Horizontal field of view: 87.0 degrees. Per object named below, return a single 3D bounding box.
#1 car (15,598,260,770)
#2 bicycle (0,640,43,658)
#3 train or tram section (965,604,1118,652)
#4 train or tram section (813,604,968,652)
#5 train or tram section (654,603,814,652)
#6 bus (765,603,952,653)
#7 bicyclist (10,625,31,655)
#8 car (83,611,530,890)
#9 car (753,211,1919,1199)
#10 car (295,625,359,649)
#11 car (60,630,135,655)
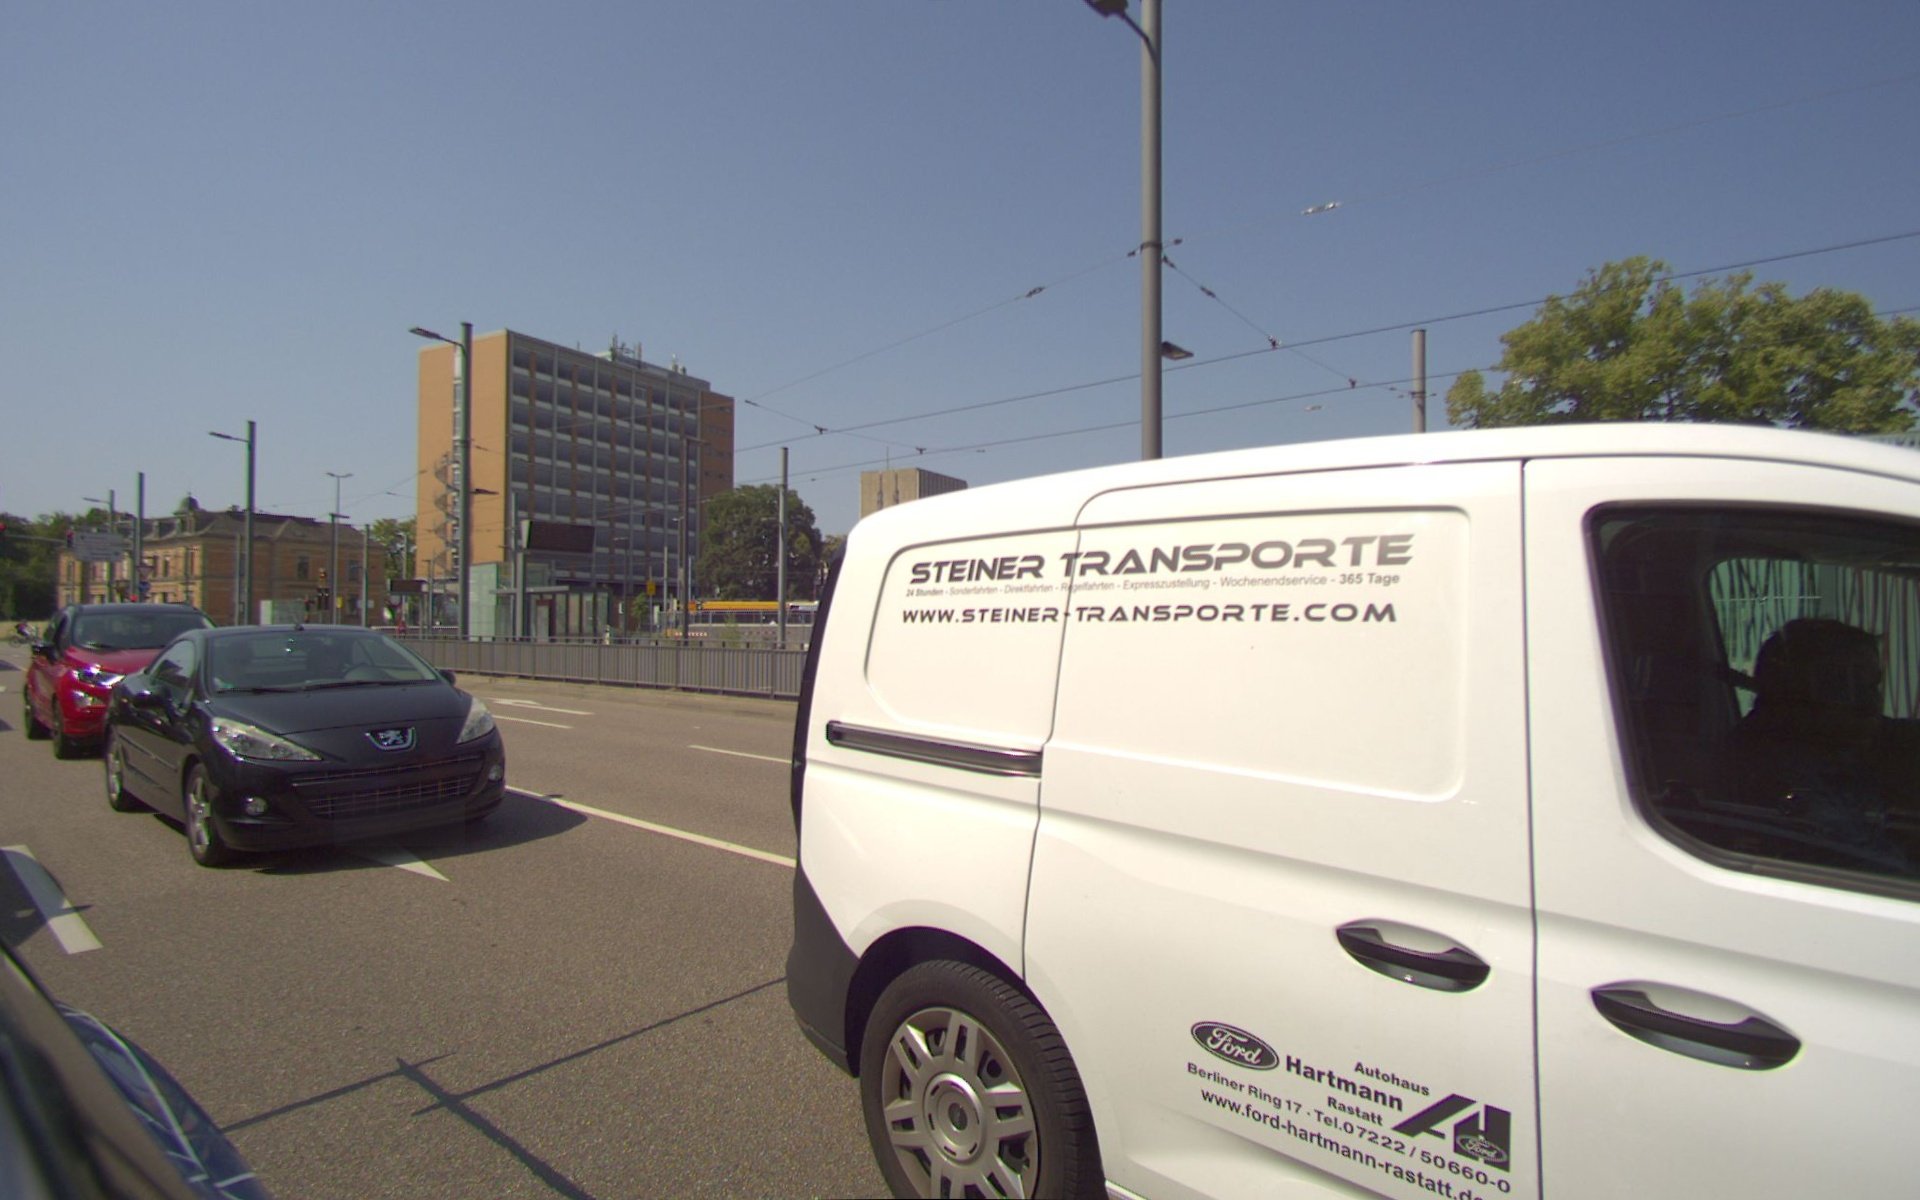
[{"bbox_3d":[-9.476,0.826,11.550,3.967,1.633,1.612,-1,-1,43],"label":"car"},{"bbox_3d":[-62.540,3.278,67.357,2.149,1.109,0.666,-1,0,-28],"label":"bicycle"},{"bbox_3d":[6.539,2.312,81.852,12.180,3.794,2.002,0,-2,-4],"label":"train or tram section"},{"bbox_3d":[-5.561,2.242,80.958,12.180,3.794,2.002,0,-2,-4],"label":"train or tram section"},{"bbox_3d":[-17.728,2.203,80.055,12.180,3.794,2.002,0,-2,-4],"label":"train or tram section"},{"bbox_3d":[-7.306,1.991,73.631,13.205,3.319,3.354,-1,0,-4],"label":"bus"},{"bbox_3d":[-62.553,2.664,67.369,0.845,1.916,0.666,-1,-1,-28],"label":"bicyclist"},{"bbox_3d":[-4.737,0.819,7.122,3.799,1.424,1.671,-1,-1,41],"label":"car"},{"bbox_3d":[1.621,0.474,1.857,4.237,1.834,1.729,-1,-1,41],"label":"car"},{"bbox_3d":[-49.796,2.882,79.623,4.215,1.745,1.888,-1,0,-35],"label":"car"},{"bbox_3d":[-61.756,3.038,72.553,3.814,1.597,1.694,-1,0,-27],"label":"car"}]
